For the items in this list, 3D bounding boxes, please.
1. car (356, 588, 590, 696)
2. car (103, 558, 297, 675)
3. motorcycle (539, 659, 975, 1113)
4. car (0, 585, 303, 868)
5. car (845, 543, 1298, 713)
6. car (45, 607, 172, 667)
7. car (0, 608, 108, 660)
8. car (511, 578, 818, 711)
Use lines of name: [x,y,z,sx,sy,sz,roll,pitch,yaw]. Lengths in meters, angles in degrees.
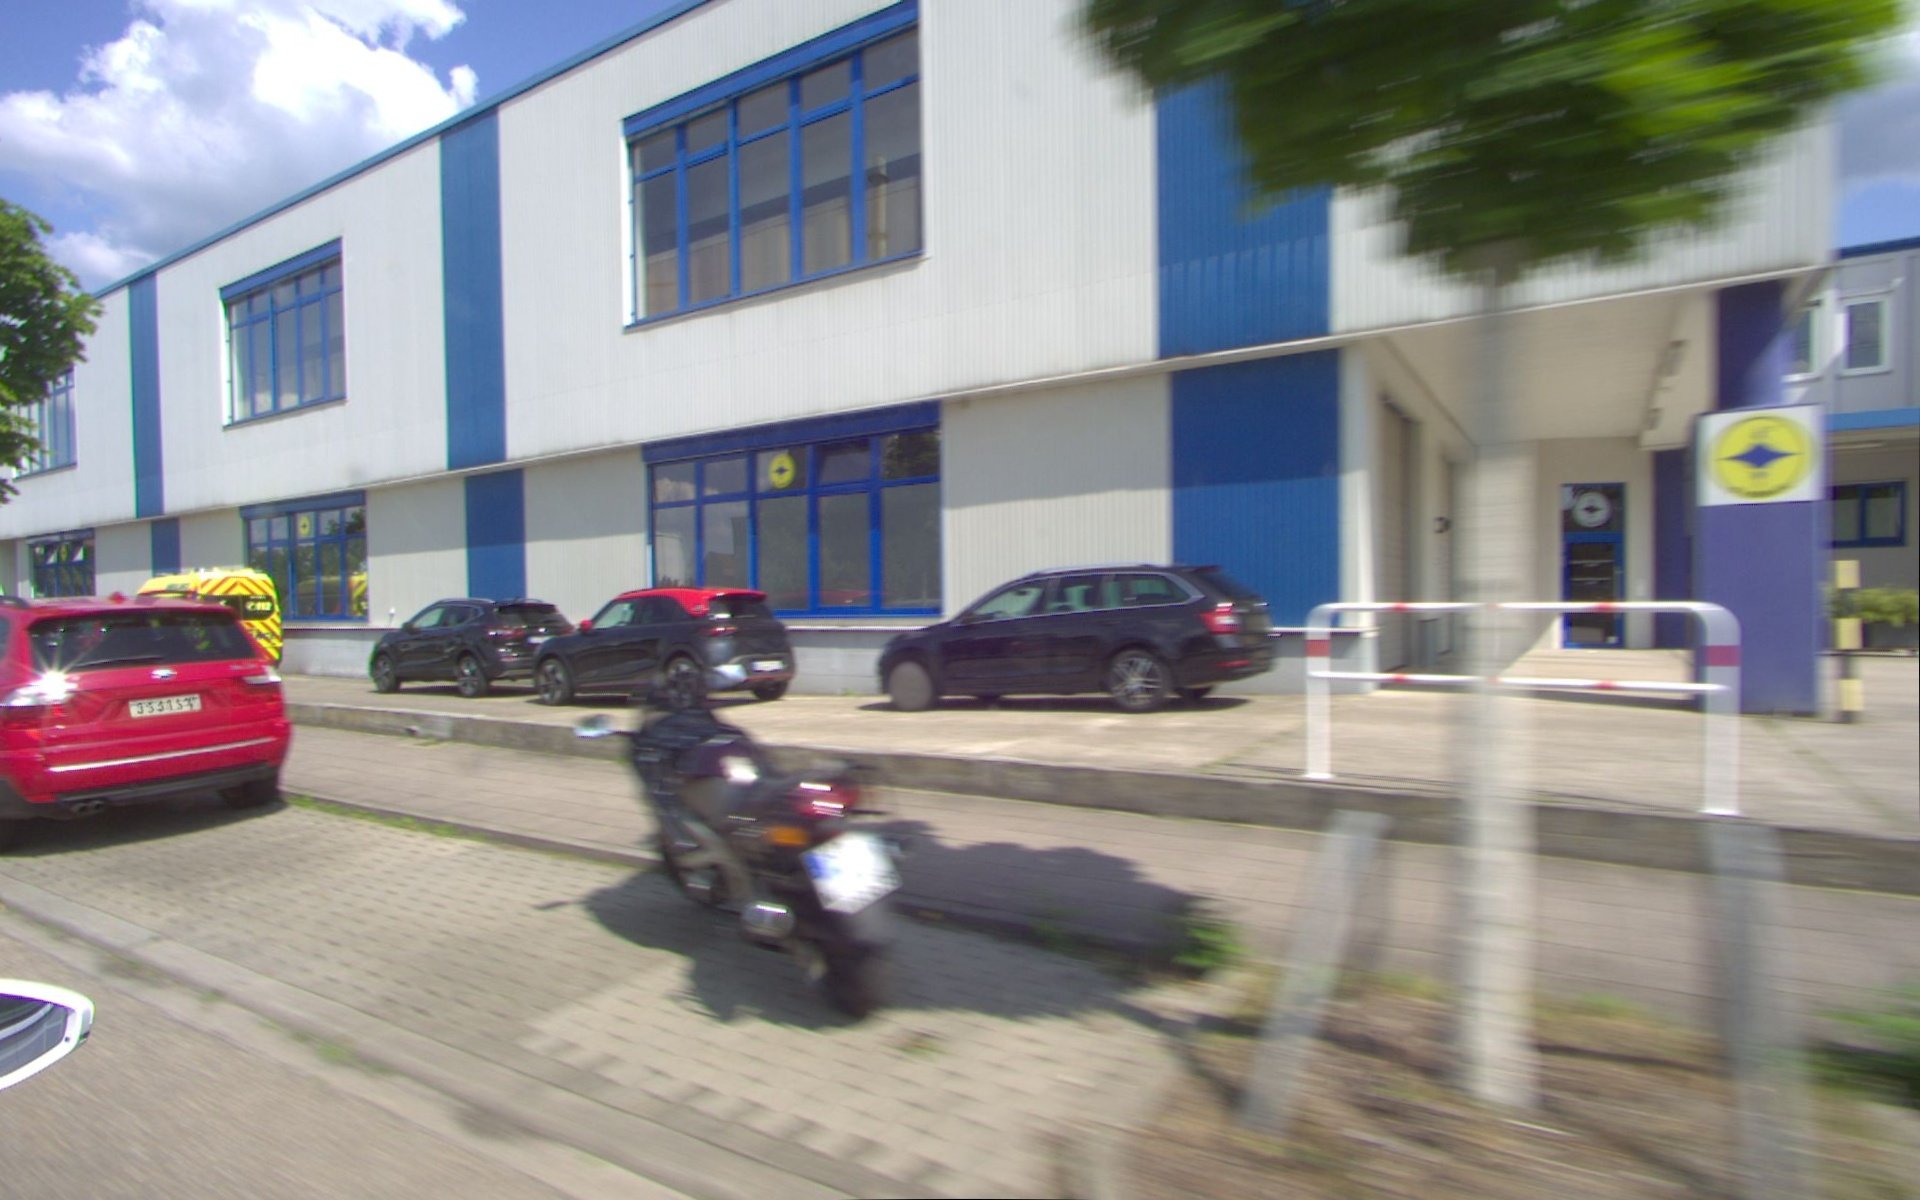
car: [-8.480,0.687,17.337,4.155,1.673,1.710,-1,0,33]
car: [-17.823,0.378,23.415,5.184,2.496,1.920,-1,0,32]
motorcycle: [-0.994,0.933,4.205,0.848,1.217,2.345,-1,1,-37]
car: [-7.188,0.741,7.811,4.611,1.673,1.750,0,1,33]
car: [1.117,0.351,10.988,4.577,1.532,1.823,-3,-1,33]
car: [-22.984,0.951,27.004,3.762,1.510,1.569,-1,0,32]
car: [-26.621,0.969,29.323,3.799,1.422,1.493,-1,0,32]
car: [-4.350,0.606,14.603,4.229,1.679,1.989,-2,0,32]
